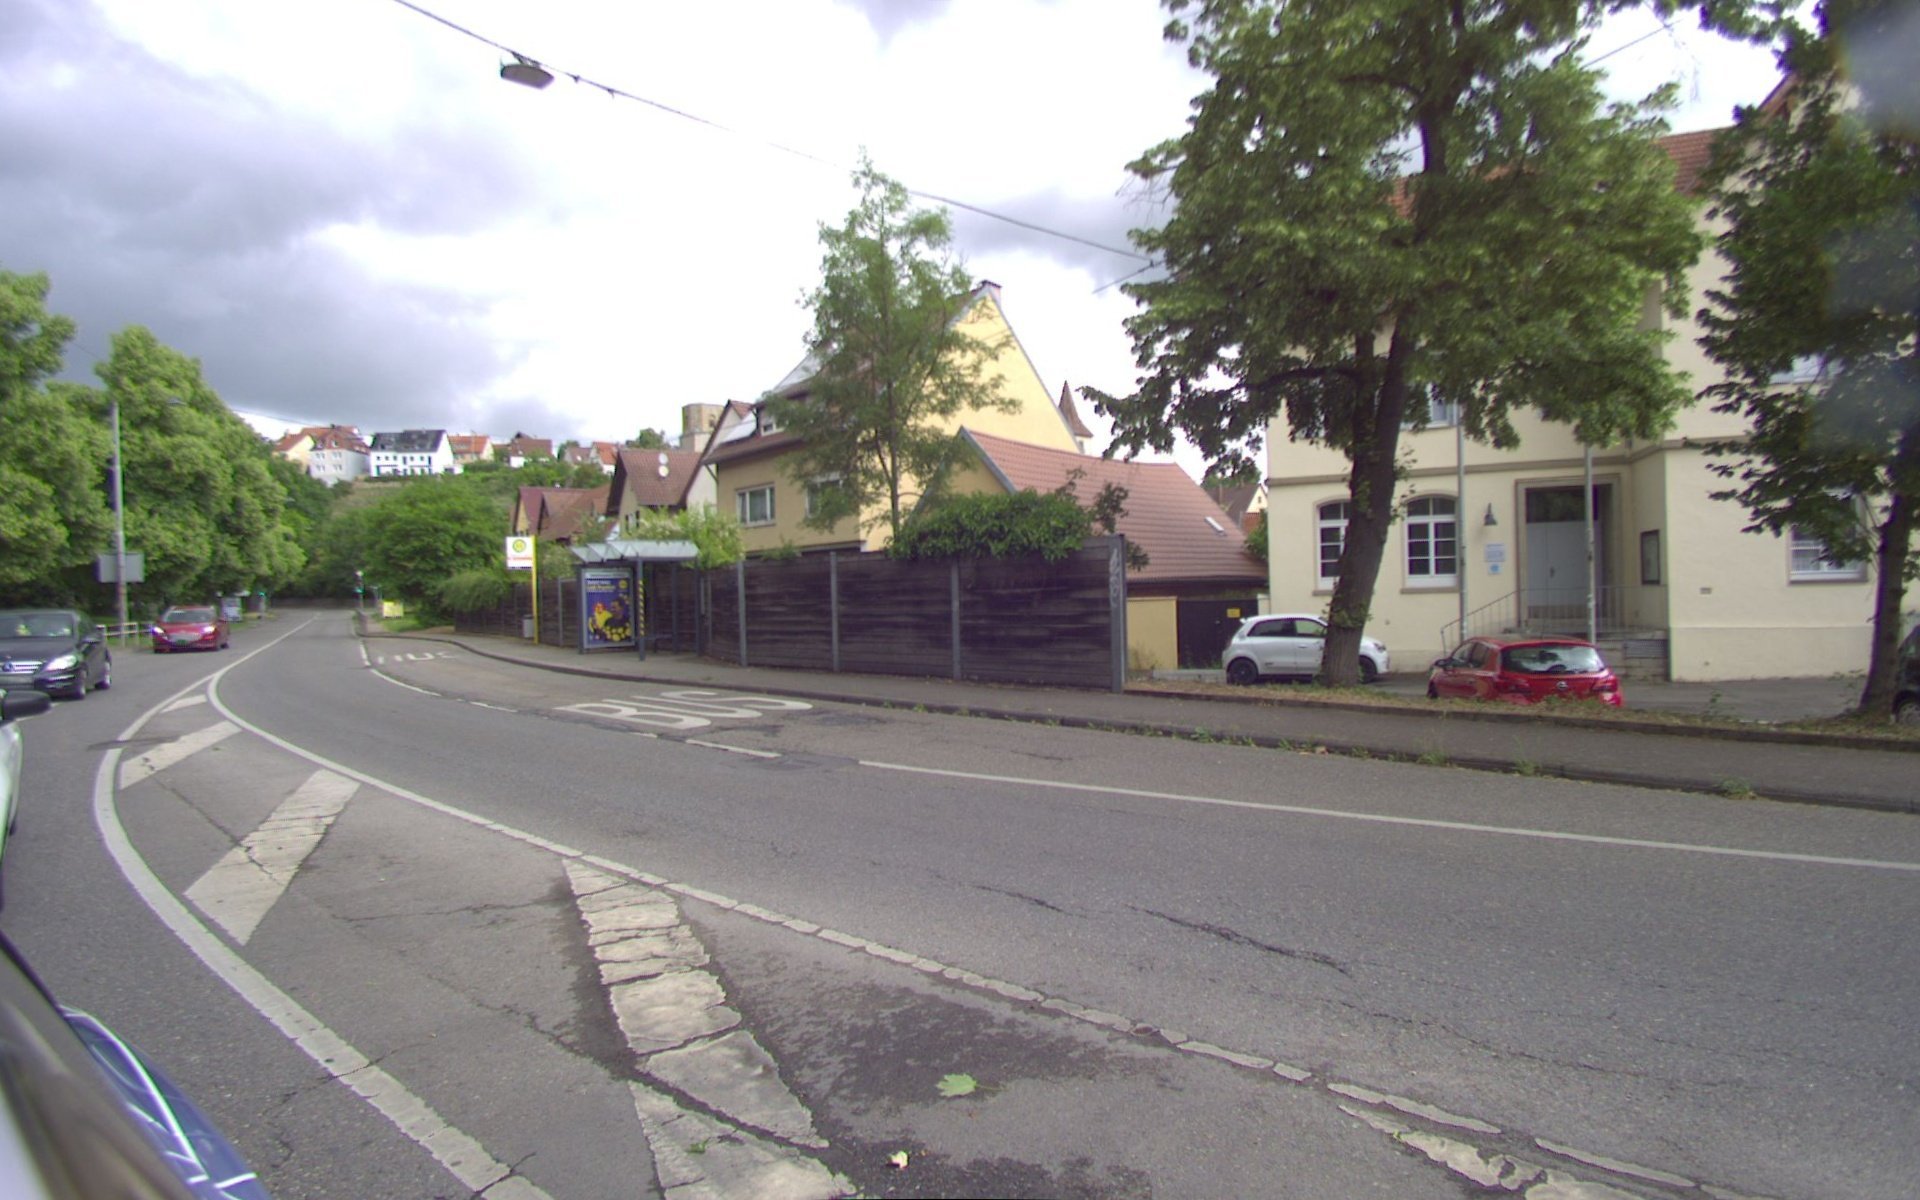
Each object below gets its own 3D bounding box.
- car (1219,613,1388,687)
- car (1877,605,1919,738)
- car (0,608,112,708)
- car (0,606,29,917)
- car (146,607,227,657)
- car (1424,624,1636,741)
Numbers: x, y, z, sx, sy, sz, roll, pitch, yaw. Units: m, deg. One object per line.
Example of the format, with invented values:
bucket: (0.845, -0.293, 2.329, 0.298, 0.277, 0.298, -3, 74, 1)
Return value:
car: (7.739, 1.106, 22.925, 3.487, 1.528, 1.581, -1, 0, 20)
car: (12.693, 0.887, 11.587, 1.586, 1.644, 3.093, -1, 0, 2)
car: (-16.239, 0.945, 17.730, 1.697, 1.559, 3.792, -1, 0, -34)
car: (-6.083, 0.815, 5.329, 1.594, 1.525, 3.610, -1, 0, -41)
car: (-28.018, 1.119, 36.784, 1.798, 1.685, 4.070, -1, 0, -30)
car: (8.119, 1.102, 14.769, 1.590, 1.389, 3.544, -1, 0, 10)
